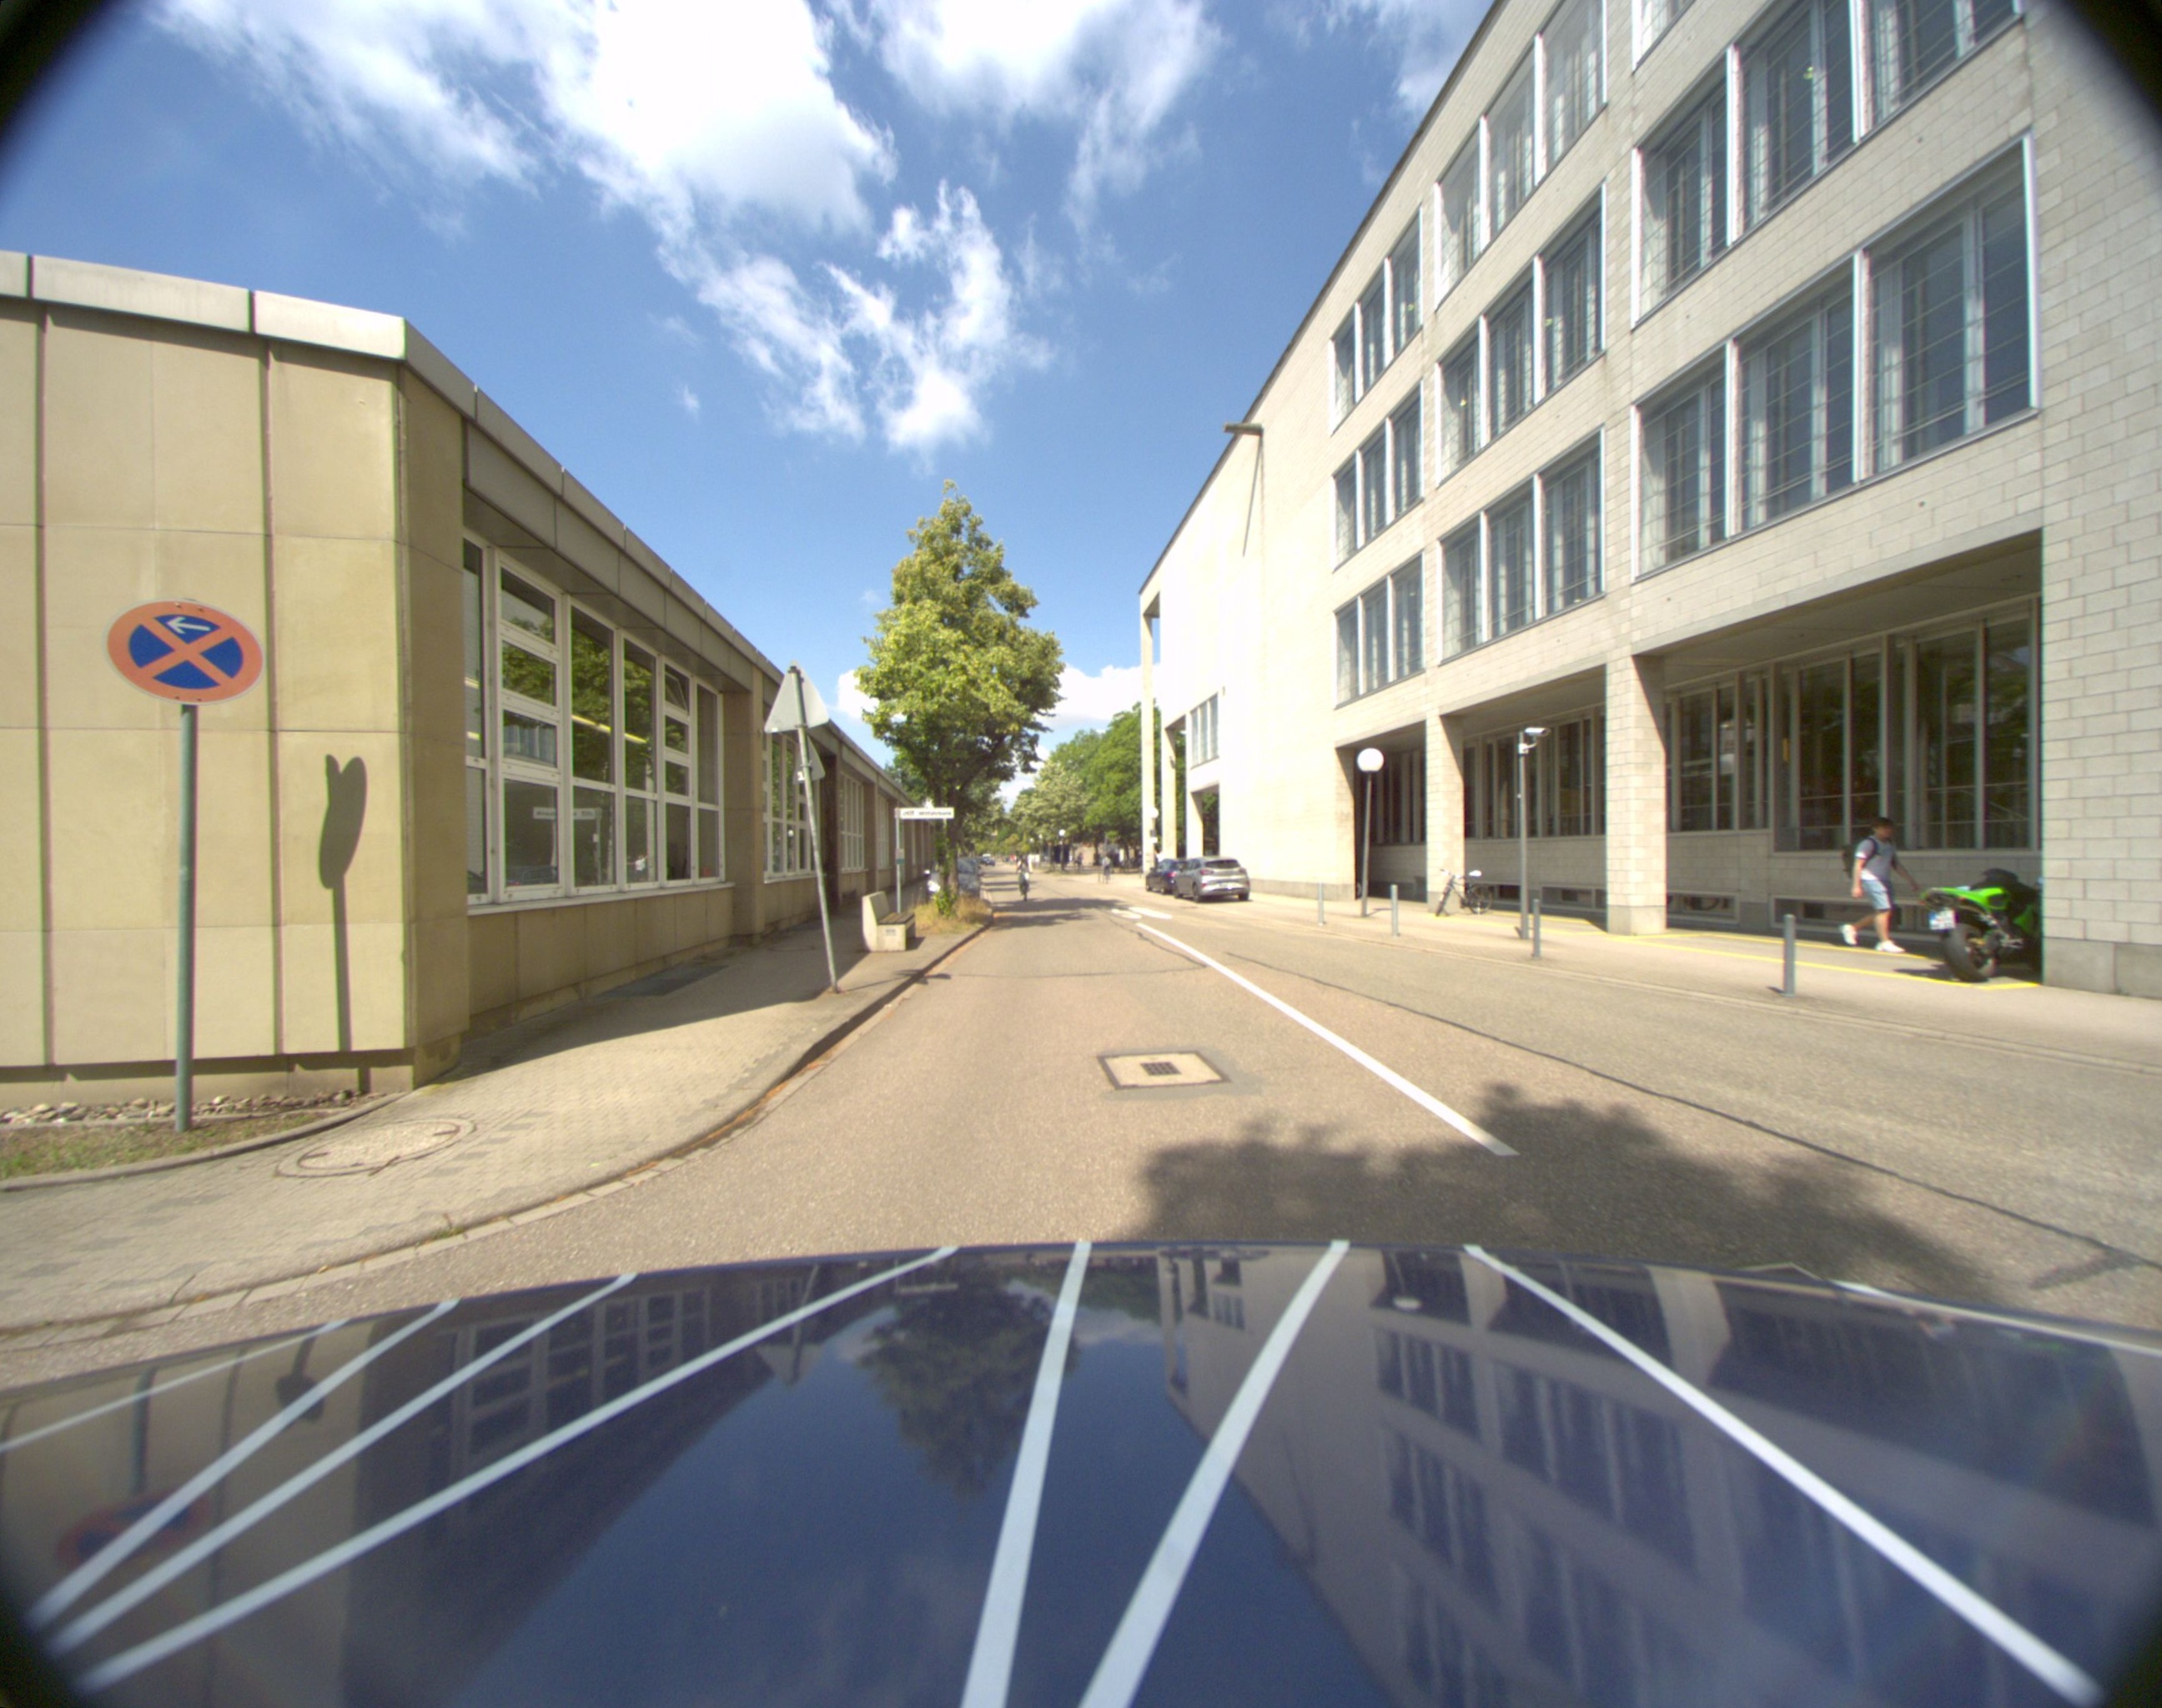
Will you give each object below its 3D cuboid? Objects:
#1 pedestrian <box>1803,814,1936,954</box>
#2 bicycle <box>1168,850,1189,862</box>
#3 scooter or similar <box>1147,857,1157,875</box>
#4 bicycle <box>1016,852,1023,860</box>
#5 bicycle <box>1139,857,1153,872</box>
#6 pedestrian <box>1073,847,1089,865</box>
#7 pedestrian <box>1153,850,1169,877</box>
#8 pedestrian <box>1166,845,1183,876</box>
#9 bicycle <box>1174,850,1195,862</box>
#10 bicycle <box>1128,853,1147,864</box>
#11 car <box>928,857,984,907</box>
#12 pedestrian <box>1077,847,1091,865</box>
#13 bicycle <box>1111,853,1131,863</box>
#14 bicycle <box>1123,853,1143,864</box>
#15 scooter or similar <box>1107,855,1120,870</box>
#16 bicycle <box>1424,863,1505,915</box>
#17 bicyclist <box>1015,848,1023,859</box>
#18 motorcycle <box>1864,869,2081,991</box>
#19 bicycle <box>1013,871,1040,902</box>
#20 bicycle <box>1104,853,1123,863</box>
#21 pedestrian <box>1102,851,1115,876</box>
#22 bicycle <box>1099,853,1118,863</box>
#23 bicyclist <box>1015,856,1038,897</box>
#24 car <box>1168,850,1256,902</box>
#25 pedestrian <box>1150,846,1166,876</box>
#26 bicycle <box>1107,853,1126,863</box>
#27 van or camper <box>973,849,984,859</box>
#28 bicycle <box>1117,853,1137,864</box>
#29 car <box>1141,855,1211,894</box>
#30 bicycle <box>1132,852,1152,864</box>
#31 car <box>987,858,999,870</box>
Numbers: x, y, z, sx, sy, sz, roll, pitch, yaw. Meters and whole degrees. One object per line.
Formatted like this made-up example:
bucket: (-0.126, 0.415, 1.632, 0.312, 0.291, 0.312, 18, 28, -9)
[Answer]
pedestrian: (10.925, 0.390, 10.567, 0.779, 1.828, 1.013, -2, 1, -8)
bicycle: (9.725, 0.224, 75.645, 2.128, 1.100, 0.751, -3, 1, -37)
scooter or similar: (4.505, 0.739, 48.541, 0.318, 1.138, 1.312, -2, 1, -8)
bicycle: (-9.734, 0.365, 119.768, 1.012, 1.169, 3.391, -2, 1, -7)
bicycle: (5.047, 0.822, 58.971, 0.509, 1.100, 1.999, -2, 1, -12)
pedestrian: (0.012, 0.189, 78.570, 1.401, 1.814, 1.368, -2, 1, -8)
pedestrian: (5.253, 0.609, 50.010, 0.755, 1.770, 1.080, -2, 1, -8)
pedestrian: (6.207, 0.430, 50.427, 0.755, 2.002, 1.080, -2, 1, -8)
bicycle: (10.232, 0.216, 75.007, 2.128, 1.100, 0.751, -3, 1, -37)
bicycle: (6.034, 0.457, 80.844, 2.128, 1.100, 0.681, -3, 1, -37)
car: (-4.265, 0.914, 26.171, 1.762, 1.559, 3.814, 0, 0, -8)
pedestrian: (0.376, 0.203, 89.289, 1.401, 2.002, 1.368, -2, 1, -8)
bicycle: (4.400, 0.452, 83.565, 2.128, 1.052, 0.681, -3, 1, -37)
bicycle: (5.568, 0.451, 81.432, 2.128, 1.100, 0.681, -3, 1, -37)
scooter or similar: (2.749, 0.696, 64.070, 0.713, 1.184, 1.616, -1, 2, 14)
bicycle: (8.865, 0.792, 17.564, 1.644, 1.080, 0.607, -2, 1, -13)
bicyclist: (-9.786, -0.094, 119.848, 1.054, 1.690, 1.281, -2, 1, -7)
motorcycle: (9.871, 0.792, 8.420, 2.174, 1.131, 0.774, -2, 1, -18)
bicycle: (-2.036, 1.192, 28.129, 0.781, 1.042, 1.911, -1, 0, -10)
bicycle: (3.657, 0.457, 84.770, 2.128, 1.052, 0.621, -3, 1, -37)
pedestrian: (1.975, 0.679, 53.794, 0.761, 1.716, 1.235, -4, 1, 3)
bicycle: (3.078, 0.448, 85.347, 2.128, 1.052, 0.621, -3, 1, -37)
bicyclist: (-2.029, 0.836, 28.089, 0.781, 1.478, 0.695, -1, 1, -9)
car: (4.425, 0.694, 26.414, 1.731, 1.526, 4.402, -3, 1, -7)
pedestrian: (5.170, 0.454, 51.161, 0.755, 2.002, 1.080, -2, 1, -8)
bicycle: (3.970, 0.436, 84.186, 2.128, 1.052, 0.621, -3, 1, -37)
van or camper: (-24.195, 0.007, 179.846, 1.999, 2.348, 4.382, -1, 0, -1)
bicycle: (4.973, 0.473, 82.237, 2.128, 1.052, 0.681, -3, 1, -37)
car: (3.845, 0.806, 31.498, 1.731, 1.414, 4.661, -2, 0, -7)
bicycle: (6.489, 0.420, 80.238, 2.128, 1.151, 0.751, -3, 1, -37)
car: (-15.043, 1.686, 129.512, 2.000, 1.805, 3.997, -1, 0, -7)
